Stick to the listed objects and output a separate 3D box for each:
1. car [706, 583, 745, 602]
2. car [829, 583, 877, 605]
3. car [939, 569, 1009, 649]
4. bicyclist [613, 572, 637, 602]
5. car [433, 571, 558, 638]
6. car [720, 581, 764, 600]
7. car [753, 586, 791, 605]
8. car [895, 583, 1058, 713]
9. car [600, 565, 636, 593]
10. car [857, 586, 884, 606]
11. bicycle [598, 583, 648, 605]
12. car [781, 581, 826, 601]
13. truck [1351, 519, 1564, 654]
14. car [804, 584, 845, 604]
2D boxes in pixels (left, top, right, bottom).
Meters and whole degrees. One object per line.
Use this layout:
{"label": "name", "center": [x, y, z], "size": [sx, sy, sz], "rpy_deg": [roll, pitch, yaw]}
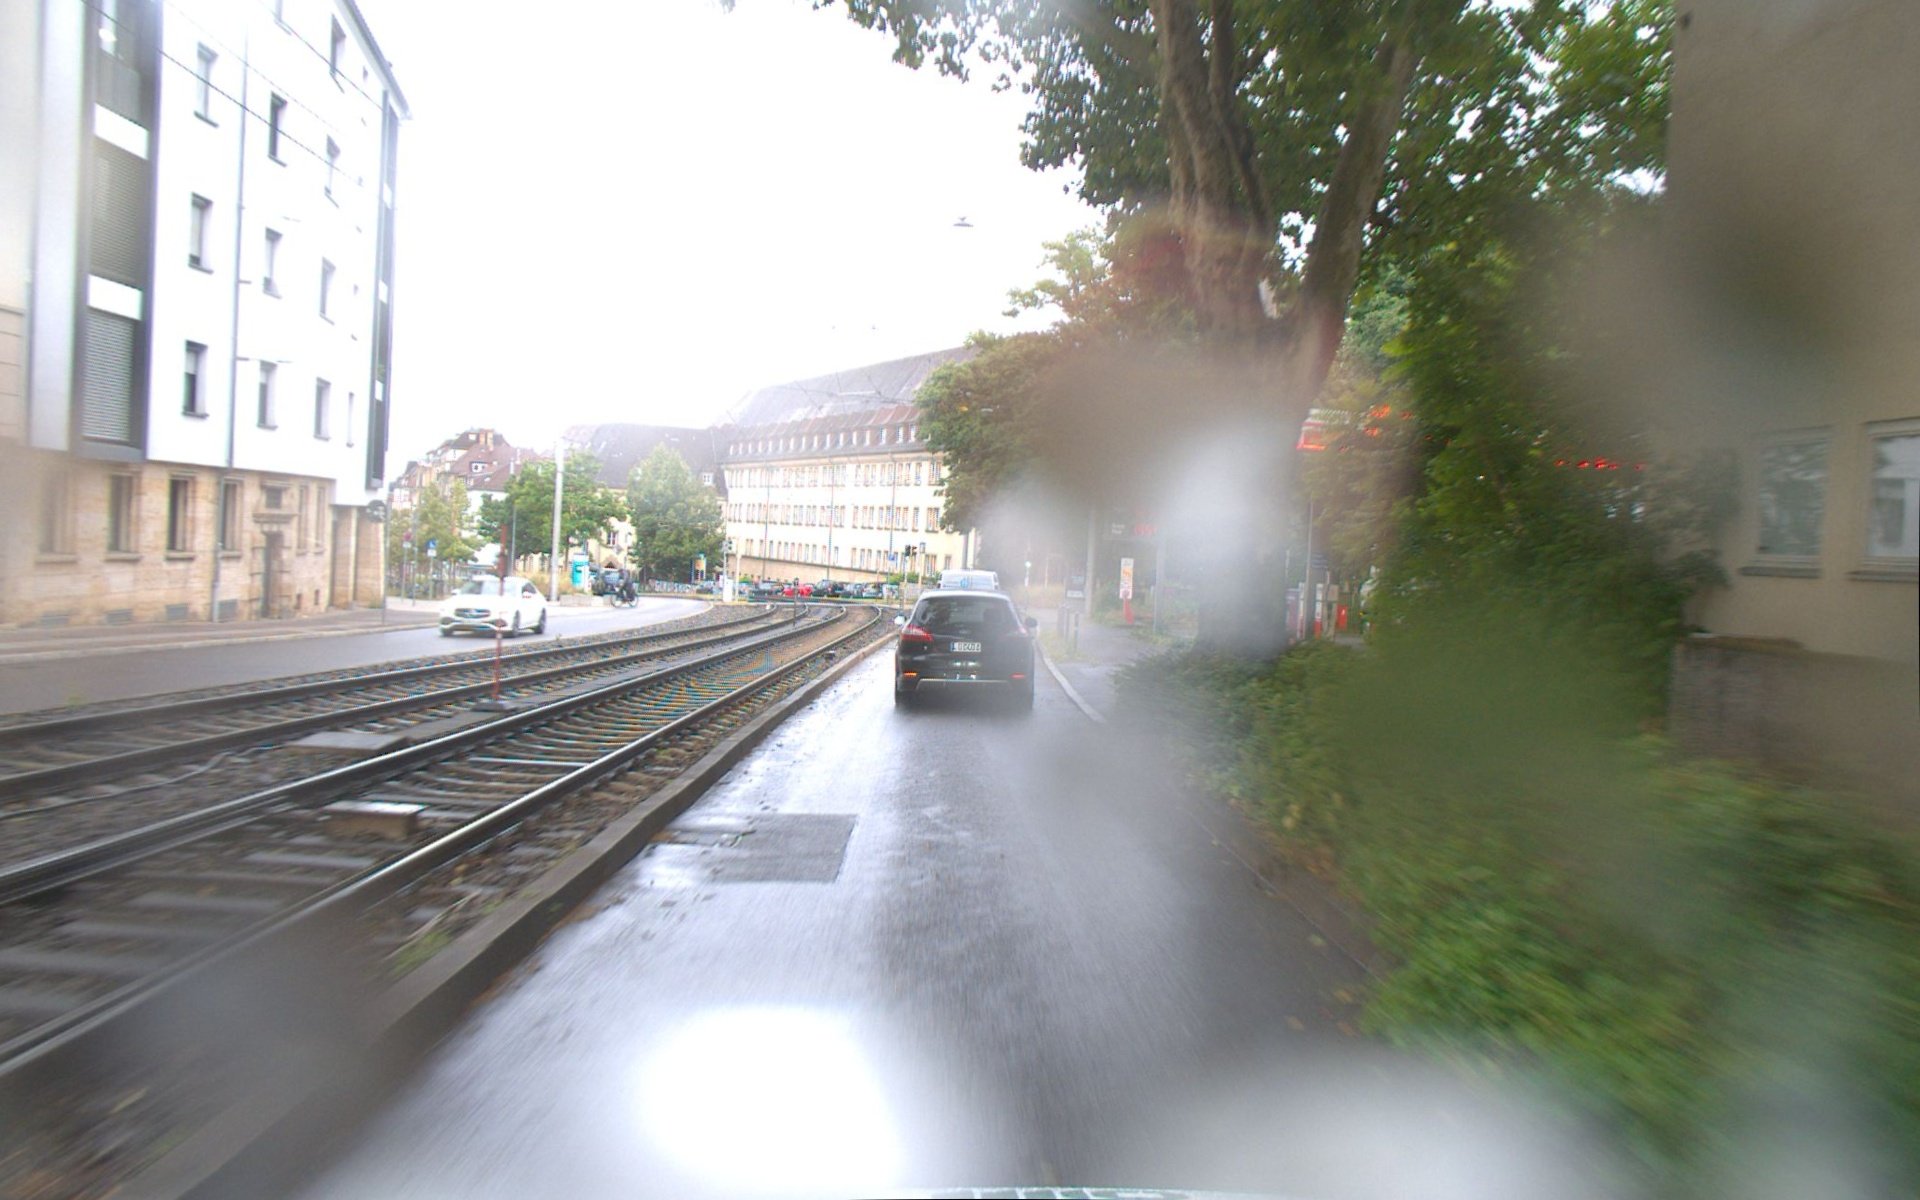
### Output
{"label": "car", "center": [-21.610, -0.695, 152.444], "size": [1.976, 1.569, 3.953], "rpy_deg": [2, 0, -34]}
{"label": "car", "center": [-8.502, -0.477, 131.263], "size": [1.977, 1.569, 3.950], "rpy_deg": [2, 0, -36]}
{"label": "car", "center": [0.355, 0.239, 45.915], "size": [1.705, 2.049, 3.902], "rpy_deg": [2, 0, -2]}
{"label": "bicyclist", "center": [-15.230, -0.574, 75.185], "size": [0.766, 1.336, 0.780], "rpy_deg": [1, 0, -38]}
{"label": "car", "center": [-11.660, 0.112, 41.810], "size": [1.763, 1.508, 4.839], "rpy_deg": [2, 0, 0]}
{"label": "car", "center": [-19.576, -0.854, 148.608], "size": [1.983, 1.569, 3.939], "rpy_deg": [2, 0, -42]}
{"label": "car", "center": [-16.505, -0.366, 145.037], "size": [1.971, 1.569, 3.963], "rpy_deg": [1, 1, -28]}
{"label": "car", "center": [0.118, 0.587, 22.208], "size": [1.895, 1.478, 4.315], "rpy_deg": [3, 0, -2]}
{"label": "car", "center": [-20.325, -1.222, 98.488], "size": [1.958, 1.569, 3.990], "rpy_deg": [2, 0, -11]}
{"label": "car", "center": [-6.931, -0.312, 127.623], "size": [1.627, 1.502, 3.635], "rpy_deg": [2, 0, -10]}
{"label": "bicycle", "center": [-15.312, -0.266, 75.195], "size": [2.084, 0.959, 0.804], "rpy_deg": [1, 0, -39]}
{"label": "car", "center": [-13.322, -0.804, 140.578], "size": [1.979, 1.569, 3.947], "rpy_deg": [2, 0, -37]}
{"label": "truck", "center": [14.311, -0.396, 48.286], "size": [3.824, 3.578, 6.976], "rpy_deg": [1, 0, -3]}
{"label": "car", "center": [-11.146, -0.507, 136.084], "size": [1.568, 1.569, 3.950], "rpy_deg": [2, 0, -35]}
